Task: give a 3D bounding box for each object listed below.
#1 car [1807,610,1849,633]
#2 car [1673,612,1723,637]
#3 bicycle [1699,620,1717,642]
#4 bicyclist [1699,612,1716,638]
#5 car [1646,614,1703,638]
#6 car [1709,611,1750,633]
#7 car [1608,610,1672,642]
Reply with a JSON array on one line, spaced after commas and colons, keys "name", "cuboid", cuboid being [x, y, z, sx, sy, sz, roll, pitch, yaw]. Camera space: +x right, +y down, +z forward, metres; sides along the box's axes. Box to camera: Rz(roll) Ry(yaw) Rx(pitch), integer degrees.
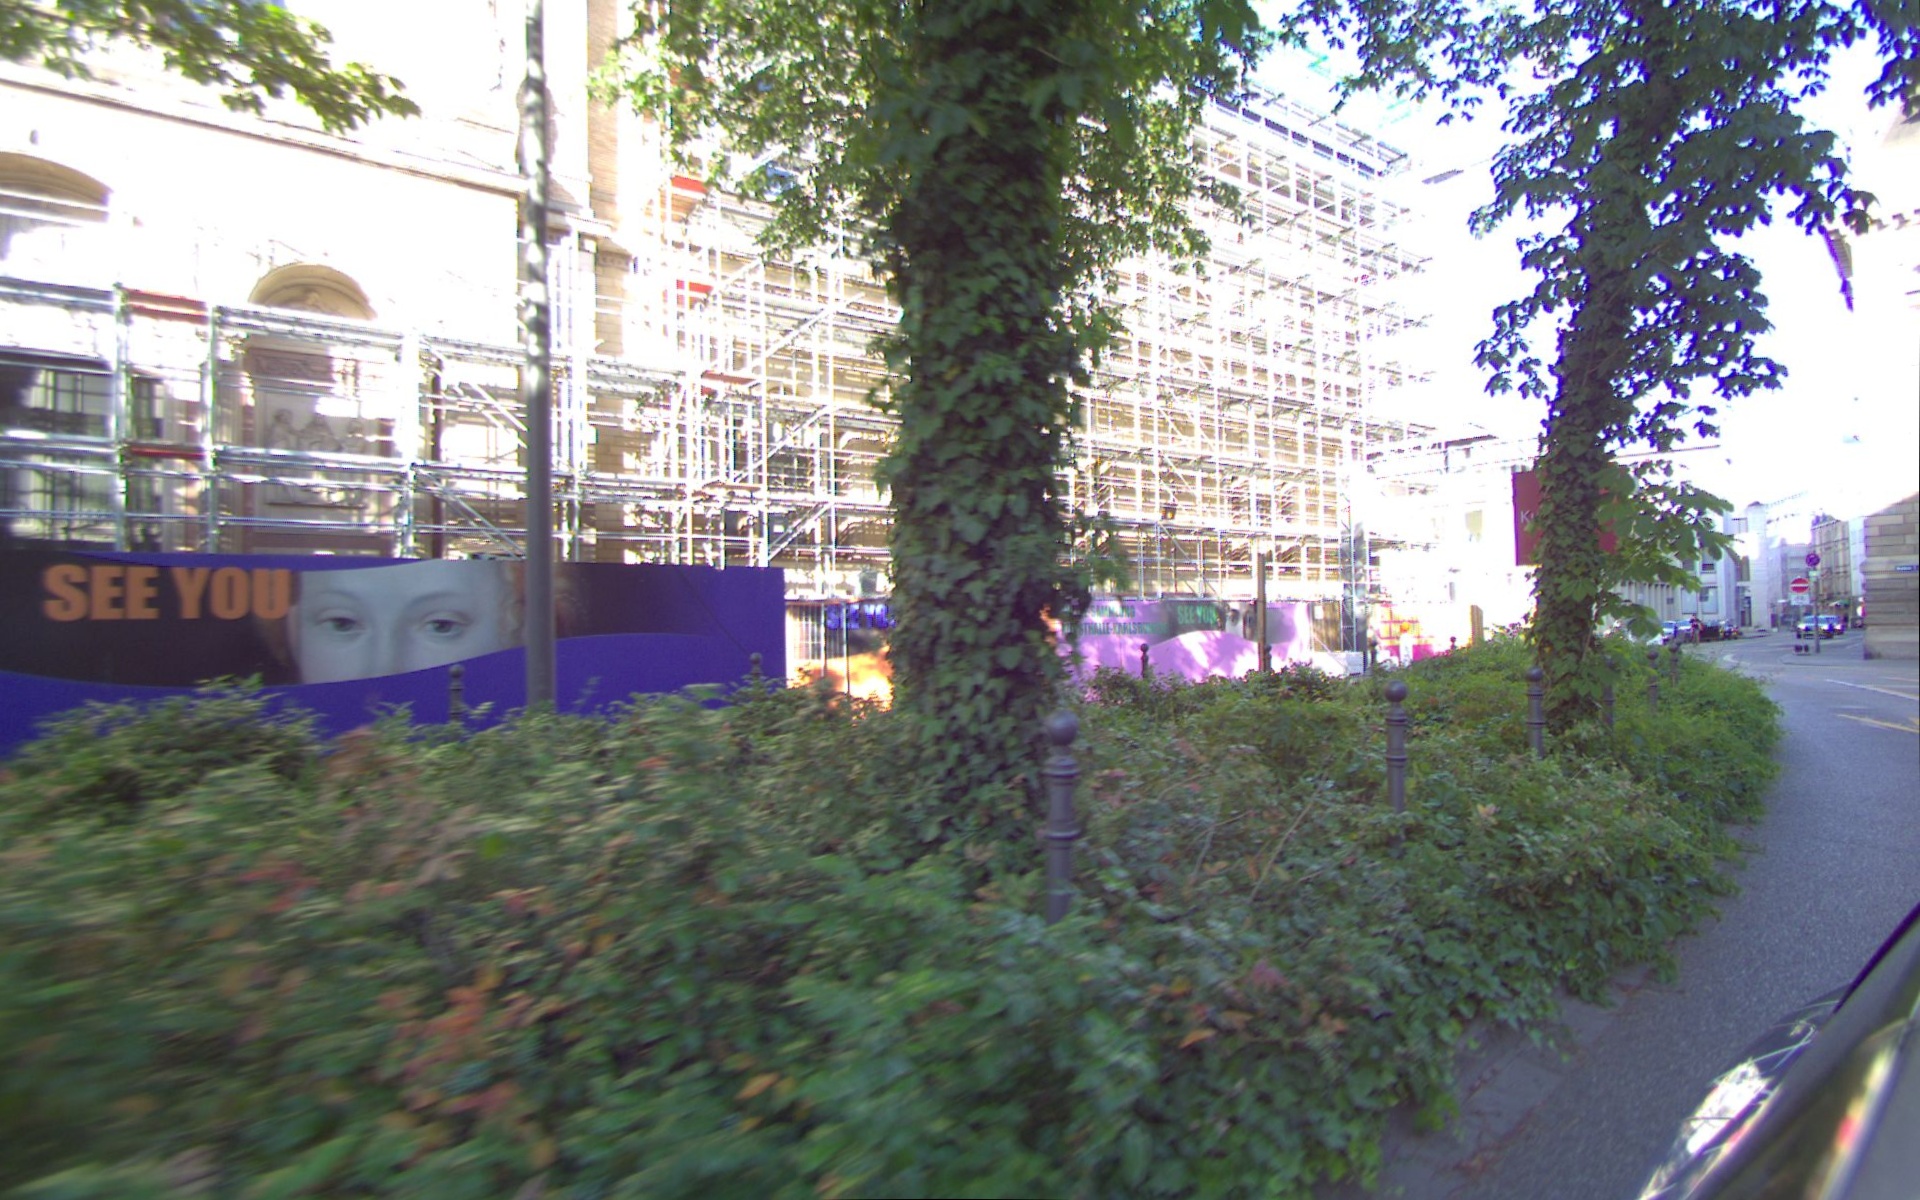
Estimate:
[{"name": "car", "cuboid": [60.633, 1.470, 70.664, 1.849, 1.511, 4.185, -4, -3, 45]}, {"name": "car", "cuboid": [46.686, 1.513, 63.954, 4.711, 1.489, 1.697, 0, -3, -44]}, {"name": "bicycle", "cuboid": [37.998, 1.565, 51.400, 0.533, 1.080, 1.403, -4, -3, 44]}, {"name": "bicyclist", "cuboid": [37.961, 1.284, 51.392, 0.536, 1.305, 0.542, -4, -4, 44]}, {"name": "car", "cuboid": [42.516, 1.540, 60.188, 4.517, 1.362, 1.699, 0, -3, -41]}, {"name": "car", "cuboid": [54.646, 1.543, 71.848, 1.693, 1.511, 4.185, -4, -3, 45]}, {"name": "car", "cuboid": [37.314, 1.405, 55.468, 4.543, 1.645, 1.895, 0, -3, -43]}]
